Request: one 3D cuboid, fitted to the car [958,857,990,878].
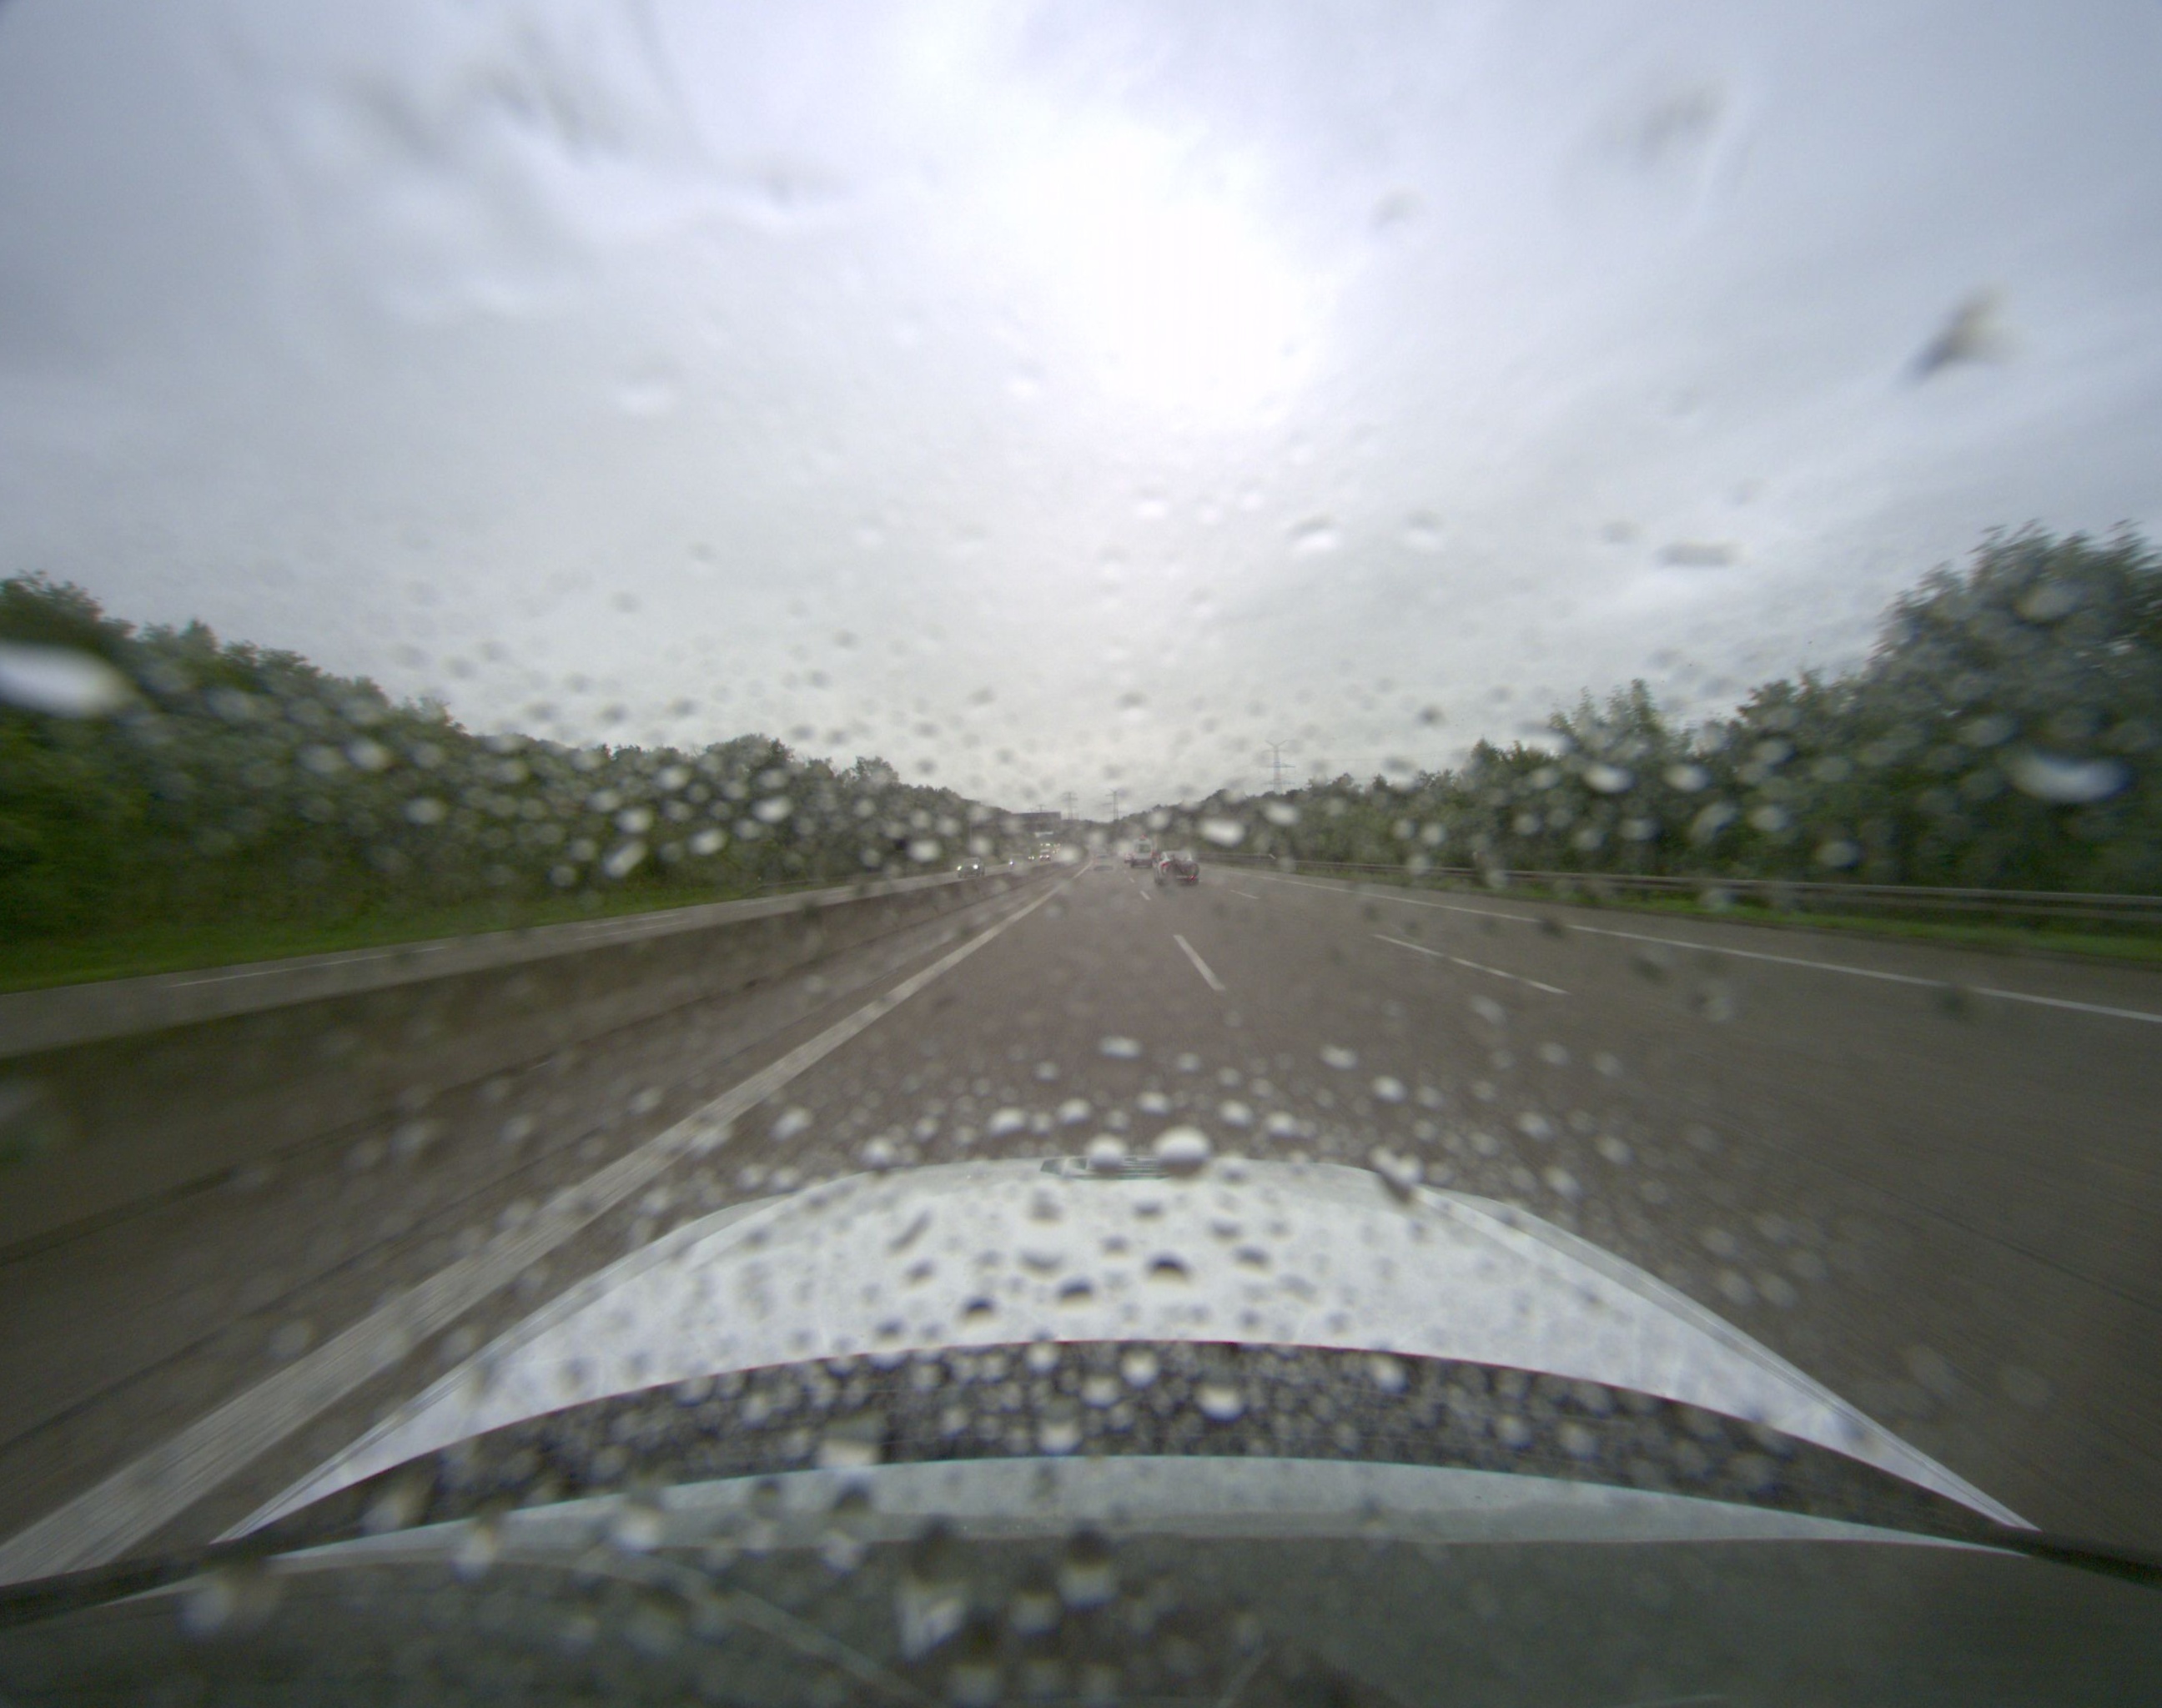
[{"bbox_3d":[-9.470,1.160,72.243,1.986,1.688,4.918,-3,0,2],"label":"car"}]

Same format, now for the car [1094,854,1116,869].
[{"bbox_3d":[2.159,0.652,73.268,1.860,1.288,4.001,-3,0,1],"label":"car"}]

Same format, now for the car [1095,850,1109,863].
[{"bbox_3d":[2.796,0.335,108.763,1.839,1.772,4.001,0,0,1],"label":"car"}]

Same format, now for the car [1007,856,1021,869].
[{"bbox_3d":[-10.829,1.348,132.153,1.735,1.904,4.532,-3,0,2],"label":"car"}]

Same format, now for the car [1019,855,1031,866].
[{"bbox_3d":[-12.095,1.353,176.697,1.986,2.168,6.418,-3,0,1],"label":"car"}]

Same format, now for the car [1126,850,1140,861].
[{"bbox_3d":[7.223,0.228,113.165,1.850,1.422,4.002,-1,1,2],"label":"car"}]

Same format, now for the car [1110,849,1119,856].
[{"bbox_3d":[8.773,-0.437,213.227,1.986,1.574,4.001,-3,0,1],"label":"car"}]

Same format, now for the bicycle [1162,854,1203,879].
[{"bbox_3d":[4.530,0.556,36.445,1.747,1.090,0.914,-1,-1,0],"label":"bicycle"}]

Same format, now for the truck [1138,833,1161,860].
[{"bbox_3d":[11.796,-1.310,141.382,3.588,4.332,13.210,-2,0,3],"label":"truck"}]

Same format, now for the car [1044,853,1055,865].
[{"bbox_3d":[-6.627,1.001,171.689,2.271,2.331,6.168,-3,0,-3],"label":"car"}]

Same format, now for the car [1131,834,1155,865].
[{"bbox_3d":[5.995,-0.448,79.273,1.986,2.864,4.003,-4,0,3],"label":"car"}]

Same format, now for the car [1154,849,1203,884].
[{"bbox_3d":[4.641,0.555,39.422,1.853,1.568,4.965,-1,0,1],"label":"car"}]

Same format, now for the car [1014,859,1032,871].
[{"bbox_3d":[-7.310,1.337,102.723,1.628,1.412,4.369,-3,0,2],"label":"car"}]
